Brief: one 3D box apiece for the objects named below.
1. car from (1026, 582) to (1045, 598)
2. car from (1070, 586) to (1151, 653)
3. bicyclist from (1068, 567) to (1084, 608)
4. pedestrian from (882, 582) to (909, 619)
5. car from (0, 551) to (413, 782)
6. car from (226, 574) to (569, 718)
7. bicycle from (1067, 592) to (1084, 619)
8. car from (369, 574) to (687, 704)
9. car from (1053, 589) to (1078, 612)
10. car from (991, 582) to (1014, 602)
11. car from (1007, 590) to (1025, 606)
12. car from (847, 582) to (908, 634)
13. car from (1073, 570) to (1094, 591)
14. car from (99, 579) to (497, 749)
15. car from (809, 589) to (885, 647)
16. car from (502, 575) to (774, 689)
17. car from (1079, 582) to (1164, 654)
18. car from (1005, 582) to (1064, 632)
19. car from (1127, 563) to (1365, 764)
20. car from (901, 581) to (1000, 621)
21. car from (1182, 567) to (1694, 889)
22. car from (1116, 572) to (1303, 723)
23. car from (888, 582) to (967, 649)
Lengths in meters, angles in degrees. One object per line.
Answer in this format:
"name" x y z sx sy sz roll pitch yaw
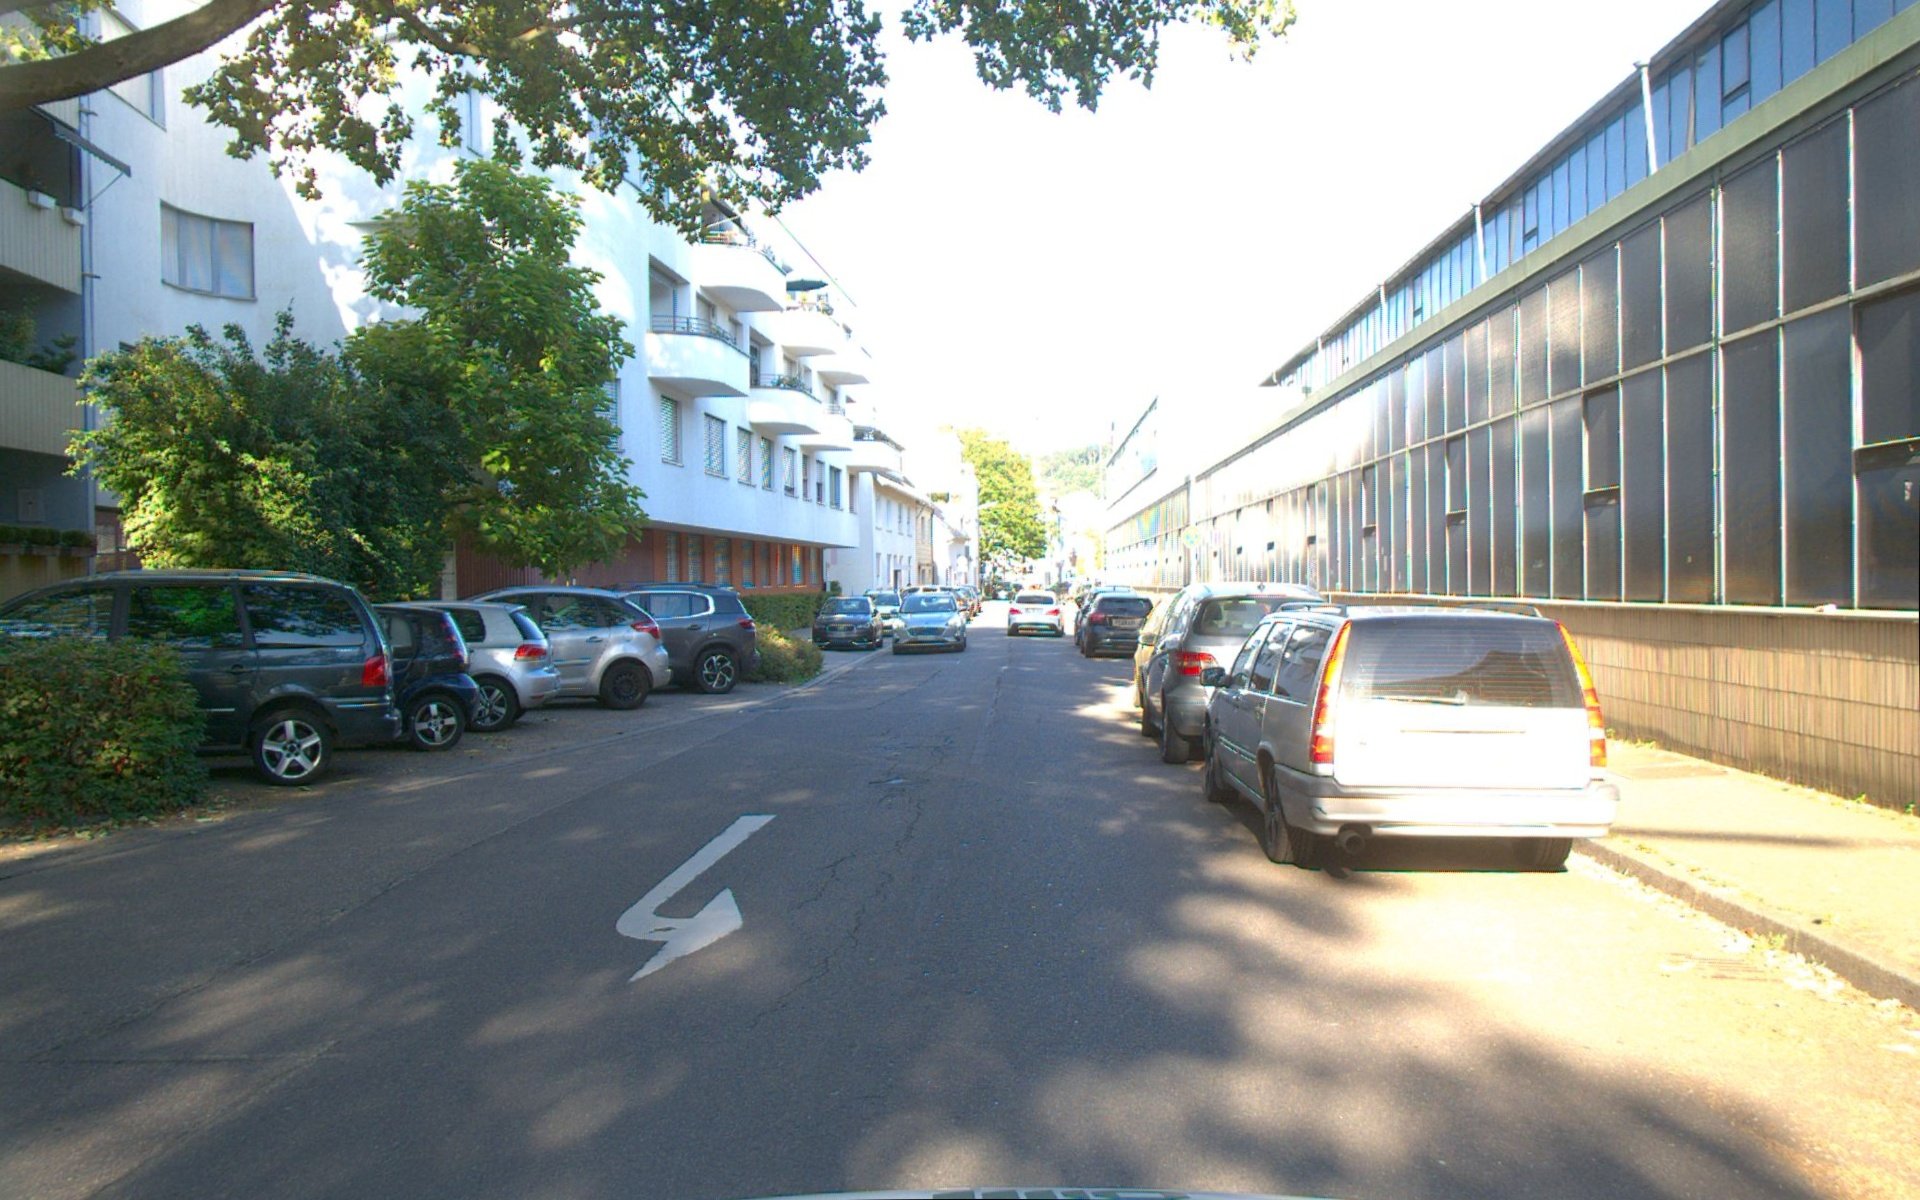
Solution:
"car" 7.381 -0.998 162.131 1.803 1.517 4.145 1 0 3
"car" 3.936 0.496 43.735 1.770 1.615 4.405 2 0 1
"bicyclist" 5.137 -0.551 73.109 0.683 1.821 1.041 1 0 4
"pedestrian" -3.291 0.033 84.936 0.845 1.850 1.131 4 1 27
"car" -6.935 0.533 14.176 4.194 1.806 1.894 1 0 -21
"car" -6.569 0.535 19.652 3.571 1.588 1.697 1 0 -9
"bicycle" 5.120 0.238 73.157 0.683 1.150 2.404 1 0 5
"car" -5.971 0.530 22.846 4.068 1.669 1.765 1 0 -22
"car" 8.345 0.026 131.309 1.815 1.823 4.608 1 0 1
"car" 3.947 -0.763 152.570 1.814 1.823 4.610 1 0 5
"car" 5.814 -0.208 171.340 1.668 1.603 3.915 1 0 3
"car" -2.789 0.271 56.729 1.820 1.615 4.621 2 0 0
"car" 10.070 -1.589 135.360 1.595 1.615 4.071 -2 0 3
"car" -6.706 0.626 16.959 3.589 1.588 1.688 1 0 -23
"car" -3.027 0.470 44.924 1.640 1.458 3.771 2 0 2
"car" -5.054 0.502 26.005 3.897 1.691 1.686 1 0 -26
"car" 3.701 0.414 38.515 1.714 1.517 4.623 2 0 3
"car" 2.394 0.236 53.378 1.804 1.517 4.145 1 0 2
"car" 2.629 0.543 16.116 1.714 1.663 4.310 1 0 2
"car" -0.398 0.055 72.311 4.231 1.562 1.690 2 0 1
"car" 2.605 0.626 10.225 1.861 1.519 4.529 1 0 0
"car" 2.997 0.543 20.602 1.714 1.663 4.001 1 0 0
"car" -0.802 0.376 41.974 1.861 1.563 4.621 -1 0 -1
